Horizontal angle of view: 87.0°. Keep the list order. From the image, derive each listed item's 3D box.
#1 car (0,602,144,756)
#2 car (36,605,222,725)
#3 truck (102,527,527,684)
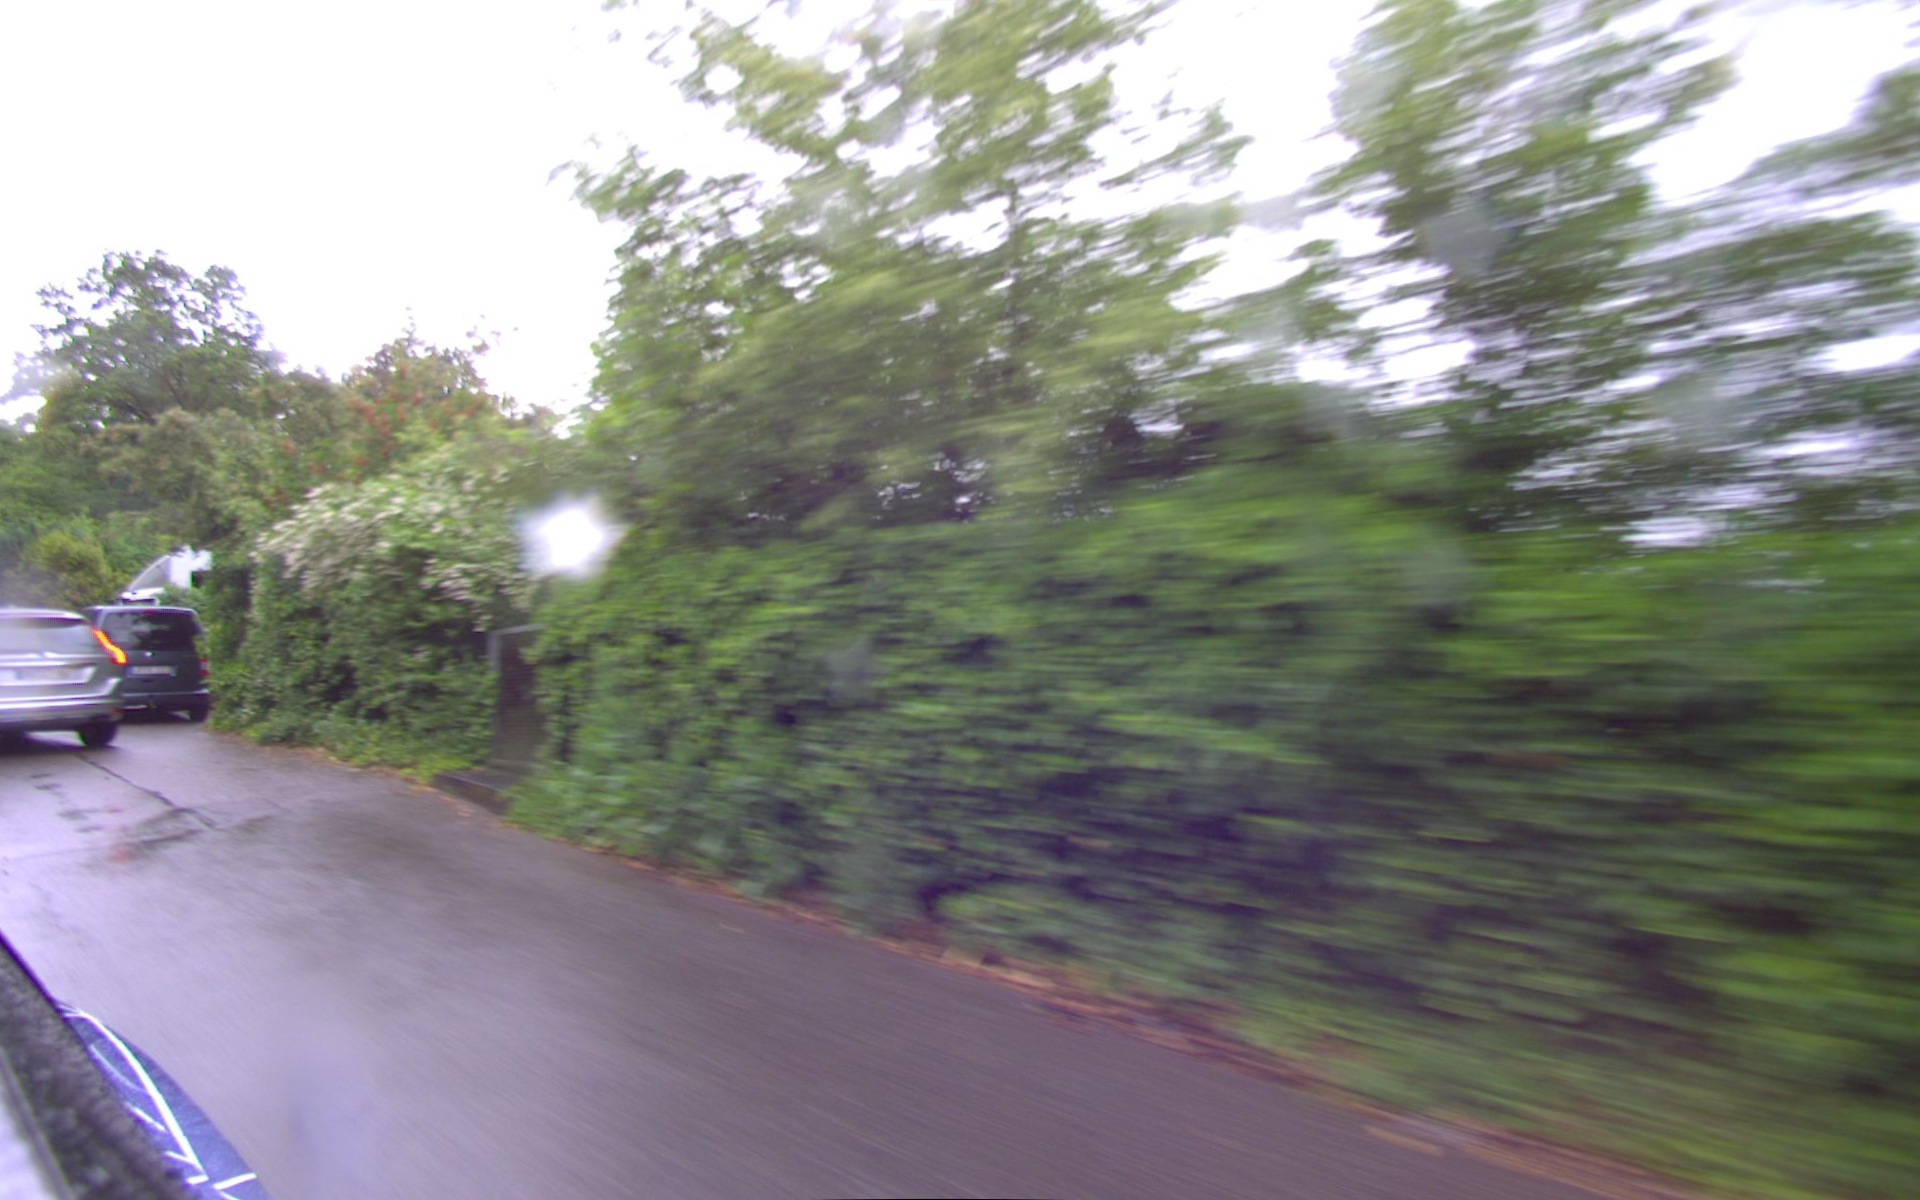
[{"bbox_3d":[-11.937,0.915,12.121,4.444,1.633,1.909,-2,-2,30],"label":"car"},{"bbox_3d":[-13.747,1.045,16.667,4.067,1.740,1.667,-2,-5,42],"label":"car"},{"bbox_3d":[-16.335,0.143,26.131,9.116,3.744,2.769,-1,-1,-2],"label":"truck"}]
